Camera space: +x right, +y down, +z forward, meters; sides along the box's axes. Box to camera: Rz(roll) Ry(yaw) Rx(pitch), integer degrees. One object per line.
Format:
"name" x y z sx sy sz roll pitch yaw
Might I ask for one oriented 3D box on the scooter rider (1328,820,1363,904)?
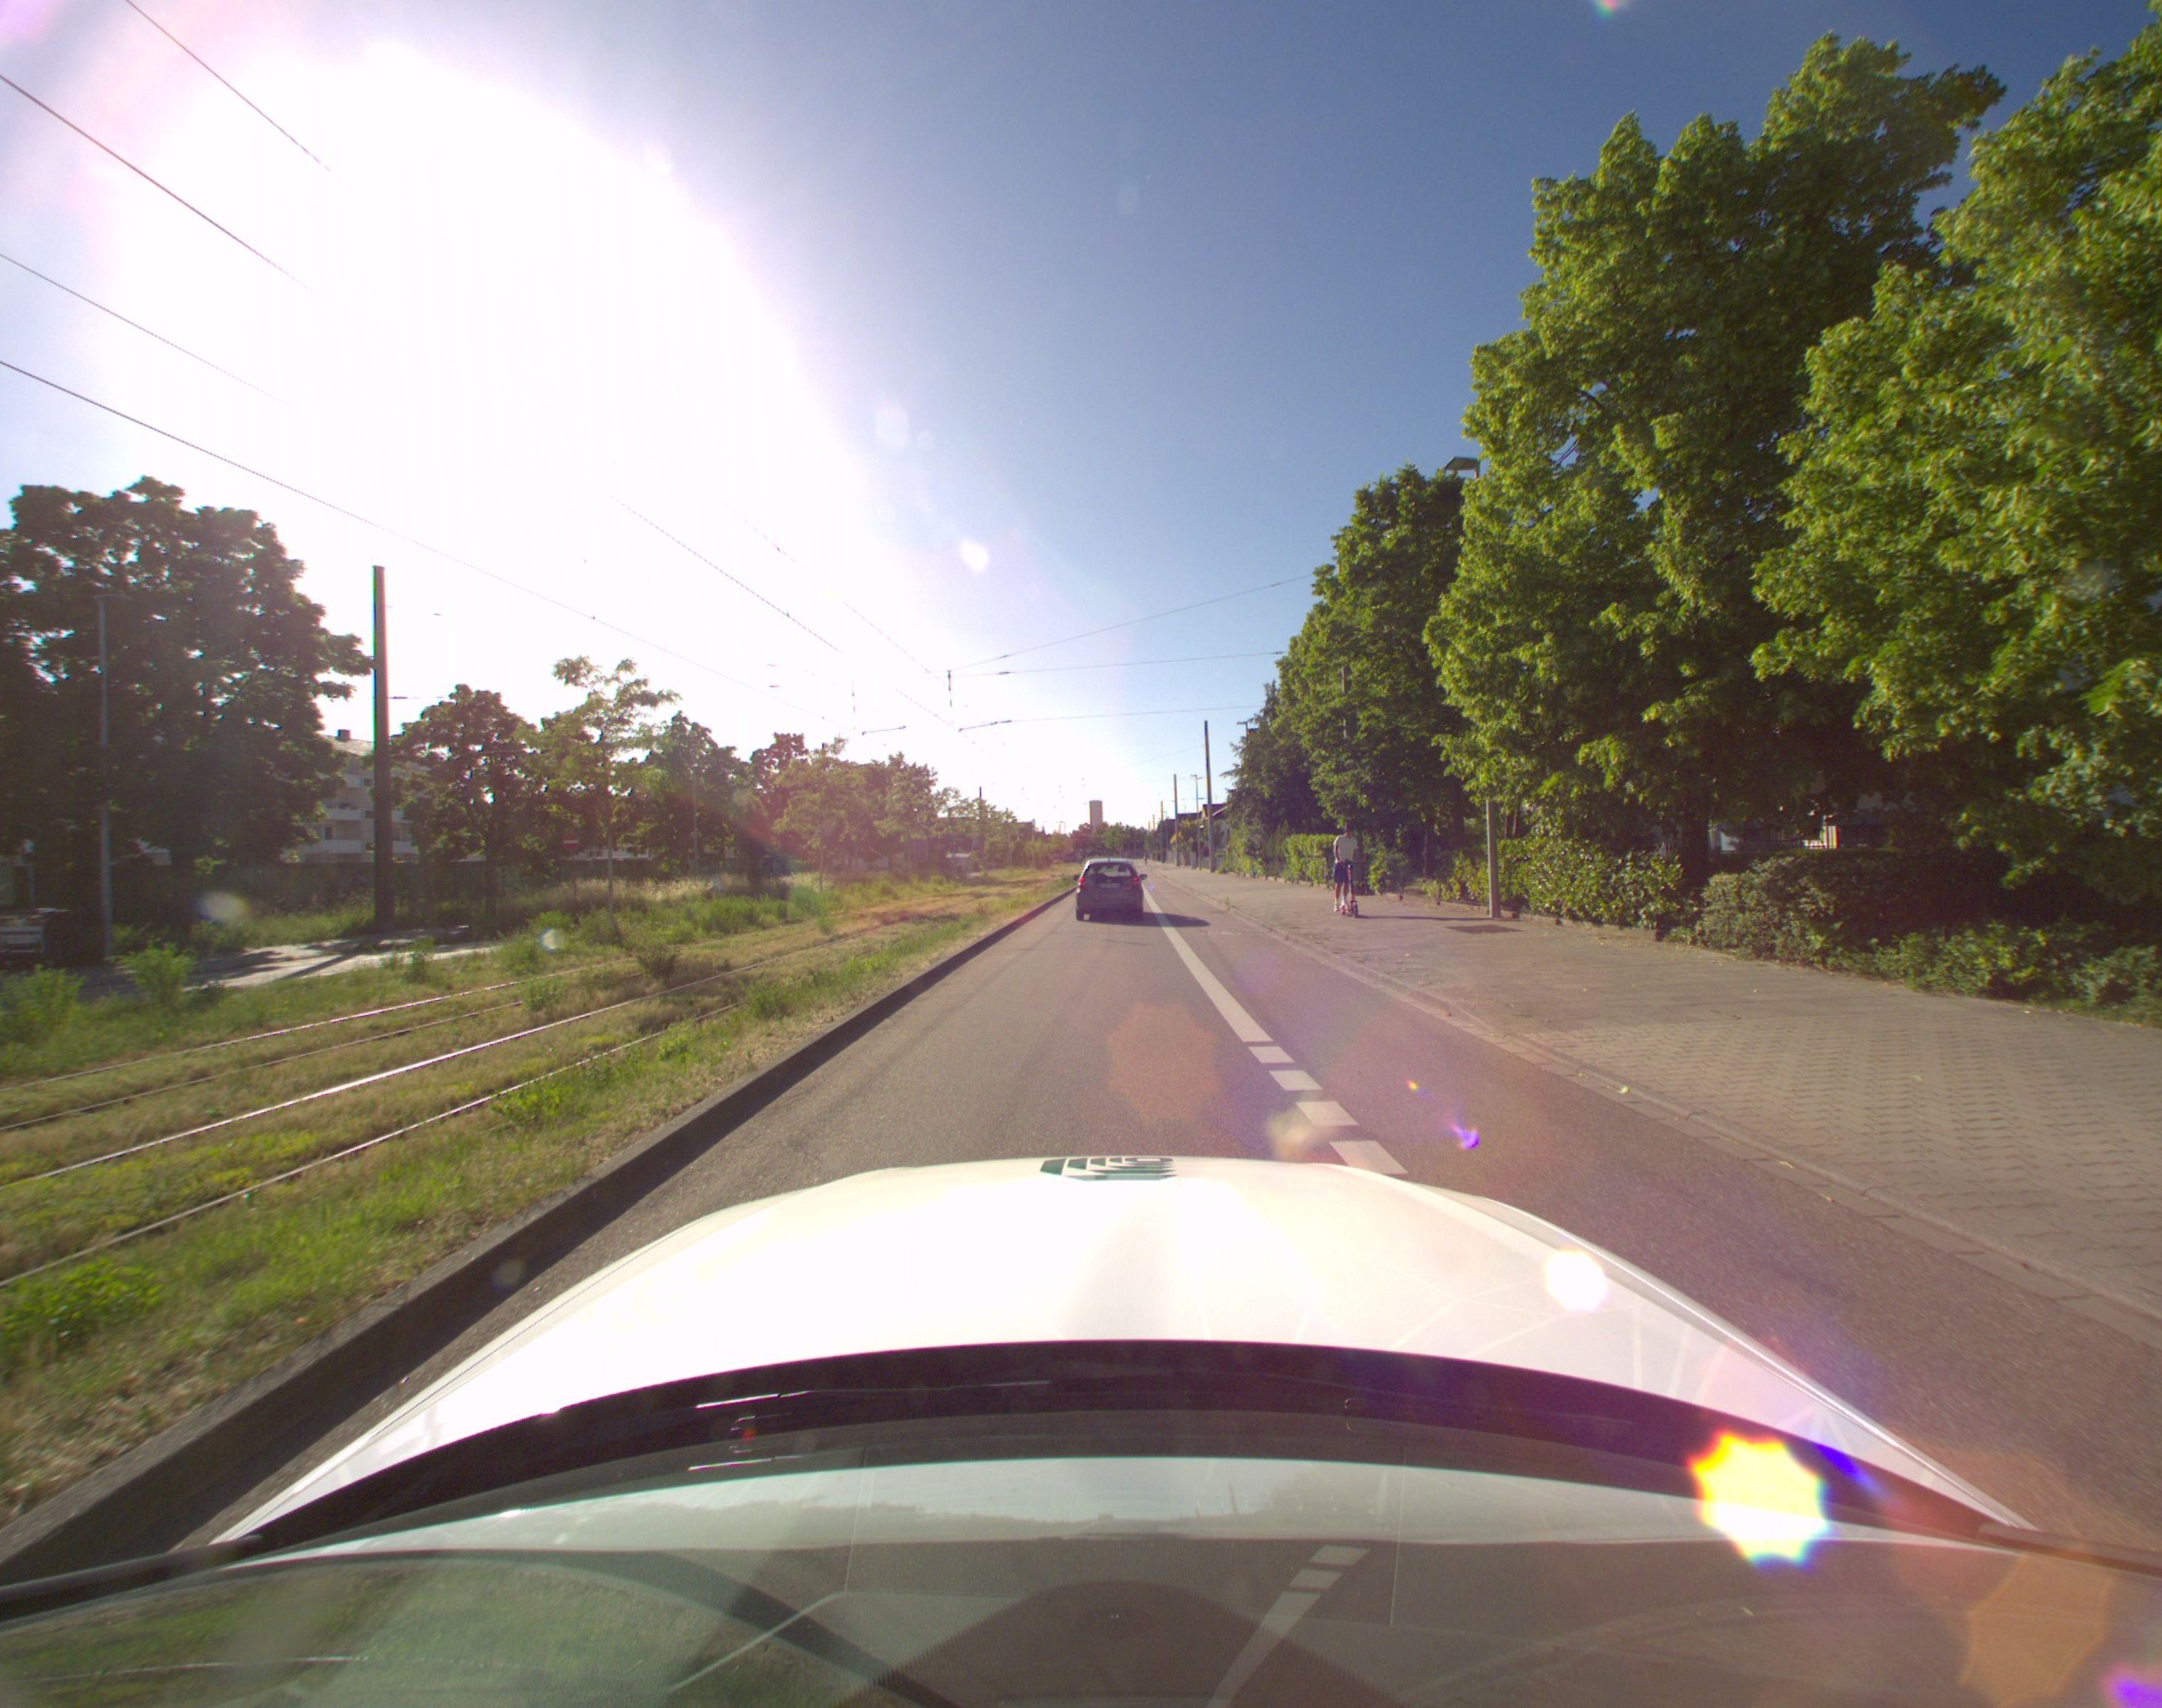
"scooter rider" 5.672 0.164 17.466 0.548 1.767 0.599 -1 0 1

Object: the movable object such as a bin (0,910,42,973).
"movable object such as a bin" -24.639 1.993 18.256 1.220 1.364 1.121 -2 -1 -1

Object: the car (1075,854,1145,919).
"car" 0.752 0.792 21.213 1.664 1.536 3.488 0 -1 2

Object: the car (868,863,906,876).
"car" -22.607 1.819 95.019 3.972 1.404 1.853 -2 -2 2

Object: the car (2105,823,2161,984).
"car" 9.870 0.396 5.241 1.457 1.361 4.053 -2 0 0

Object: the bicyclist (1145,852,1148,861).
"bicyclist" 11.713 0.487 145.765 0.596 1.701 0.684 0 -1 3

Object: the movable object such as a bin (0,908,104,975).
"movable object such as a bin" -23.334 1.958 18.359 1.220 1.369 1.121 -1 -1 -1

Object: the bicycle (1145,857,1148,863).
"bicycle" 11.766 1.051 145.875 0.473 0.961 1.658 0 -1 4

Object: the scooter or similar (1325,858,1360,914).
"scooter or similar" 5.588 0.662 17.443 0.347 1.137 1.209 -2 0 2
